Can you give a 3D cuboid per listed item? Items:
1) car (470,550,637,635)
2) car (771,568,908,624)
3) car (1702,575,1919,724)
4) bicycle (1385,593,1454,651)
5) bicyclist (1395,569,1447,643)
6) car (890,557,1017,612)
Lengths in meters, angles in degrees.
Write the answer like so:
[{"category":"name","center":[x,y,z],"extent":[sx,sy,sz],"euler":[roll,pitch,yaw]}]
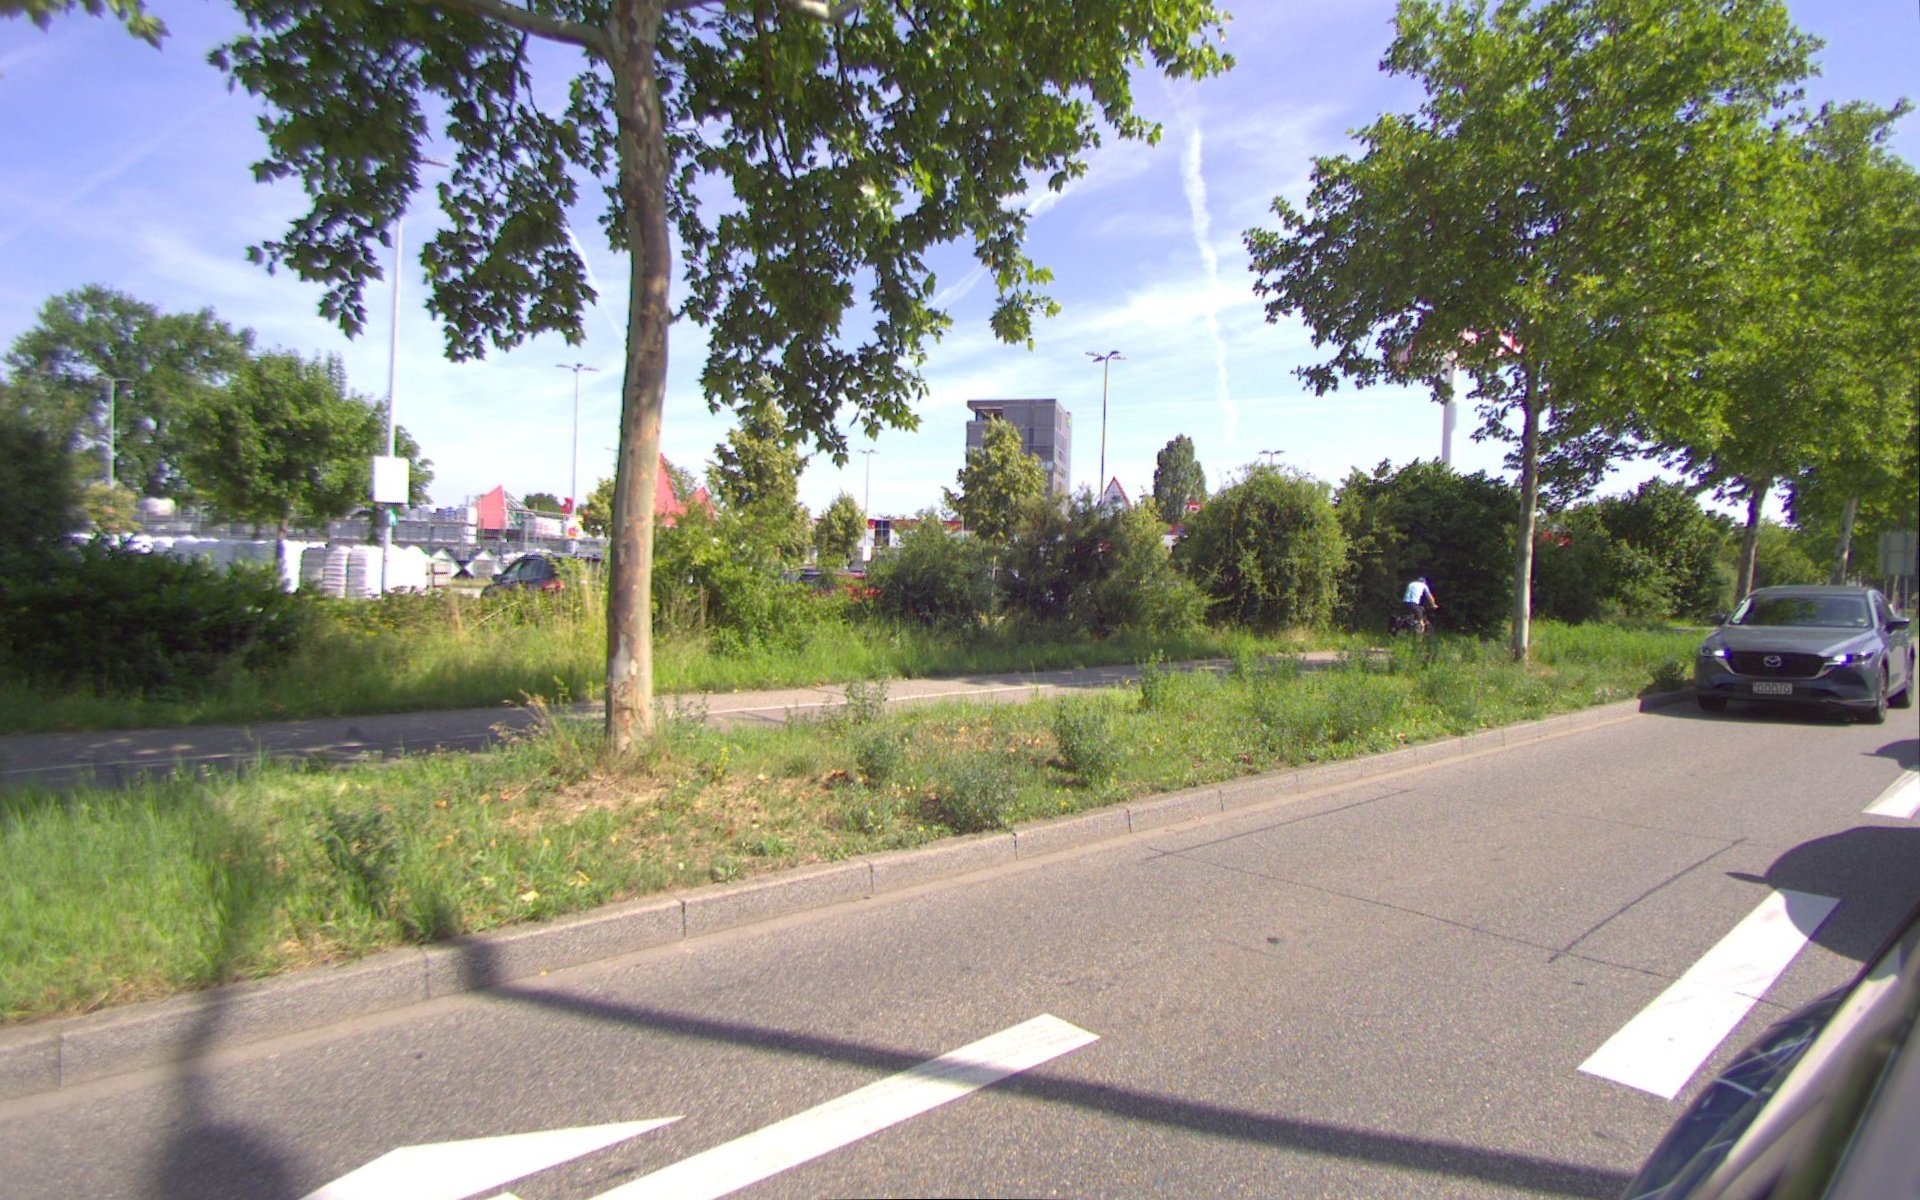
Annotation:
[{"category":"car","center":[-8.633,-0.212,21.354],"extent":[3.850,1.604,1.821],"euler":[3,2,43]},{"category":"car","center":[-3.227,-0.144,26.816],"extent":[3.553,1.316,1.740],"euler":[3,2,43]},{"category":"car","center":[11.586,0.542,13.574],"extent":[4.418,1.680,1.768],"euler":[0,0,-42]},{"category":"bicycle","center":[10.505,0.482,23.096],"extent":[1.900,1.252,0.686],"euler":[0,2,-41]},{"category":"bicyclist","center":[10.532,0.126,23.104],"extent":[0.984,1.651,0.686],"euler":[0,2,-41]},{"category":"car","center":[-0.185,-0.523,32.587],"extent":[3.801,1.604,1.844],"euler":[2,2,11]}]
